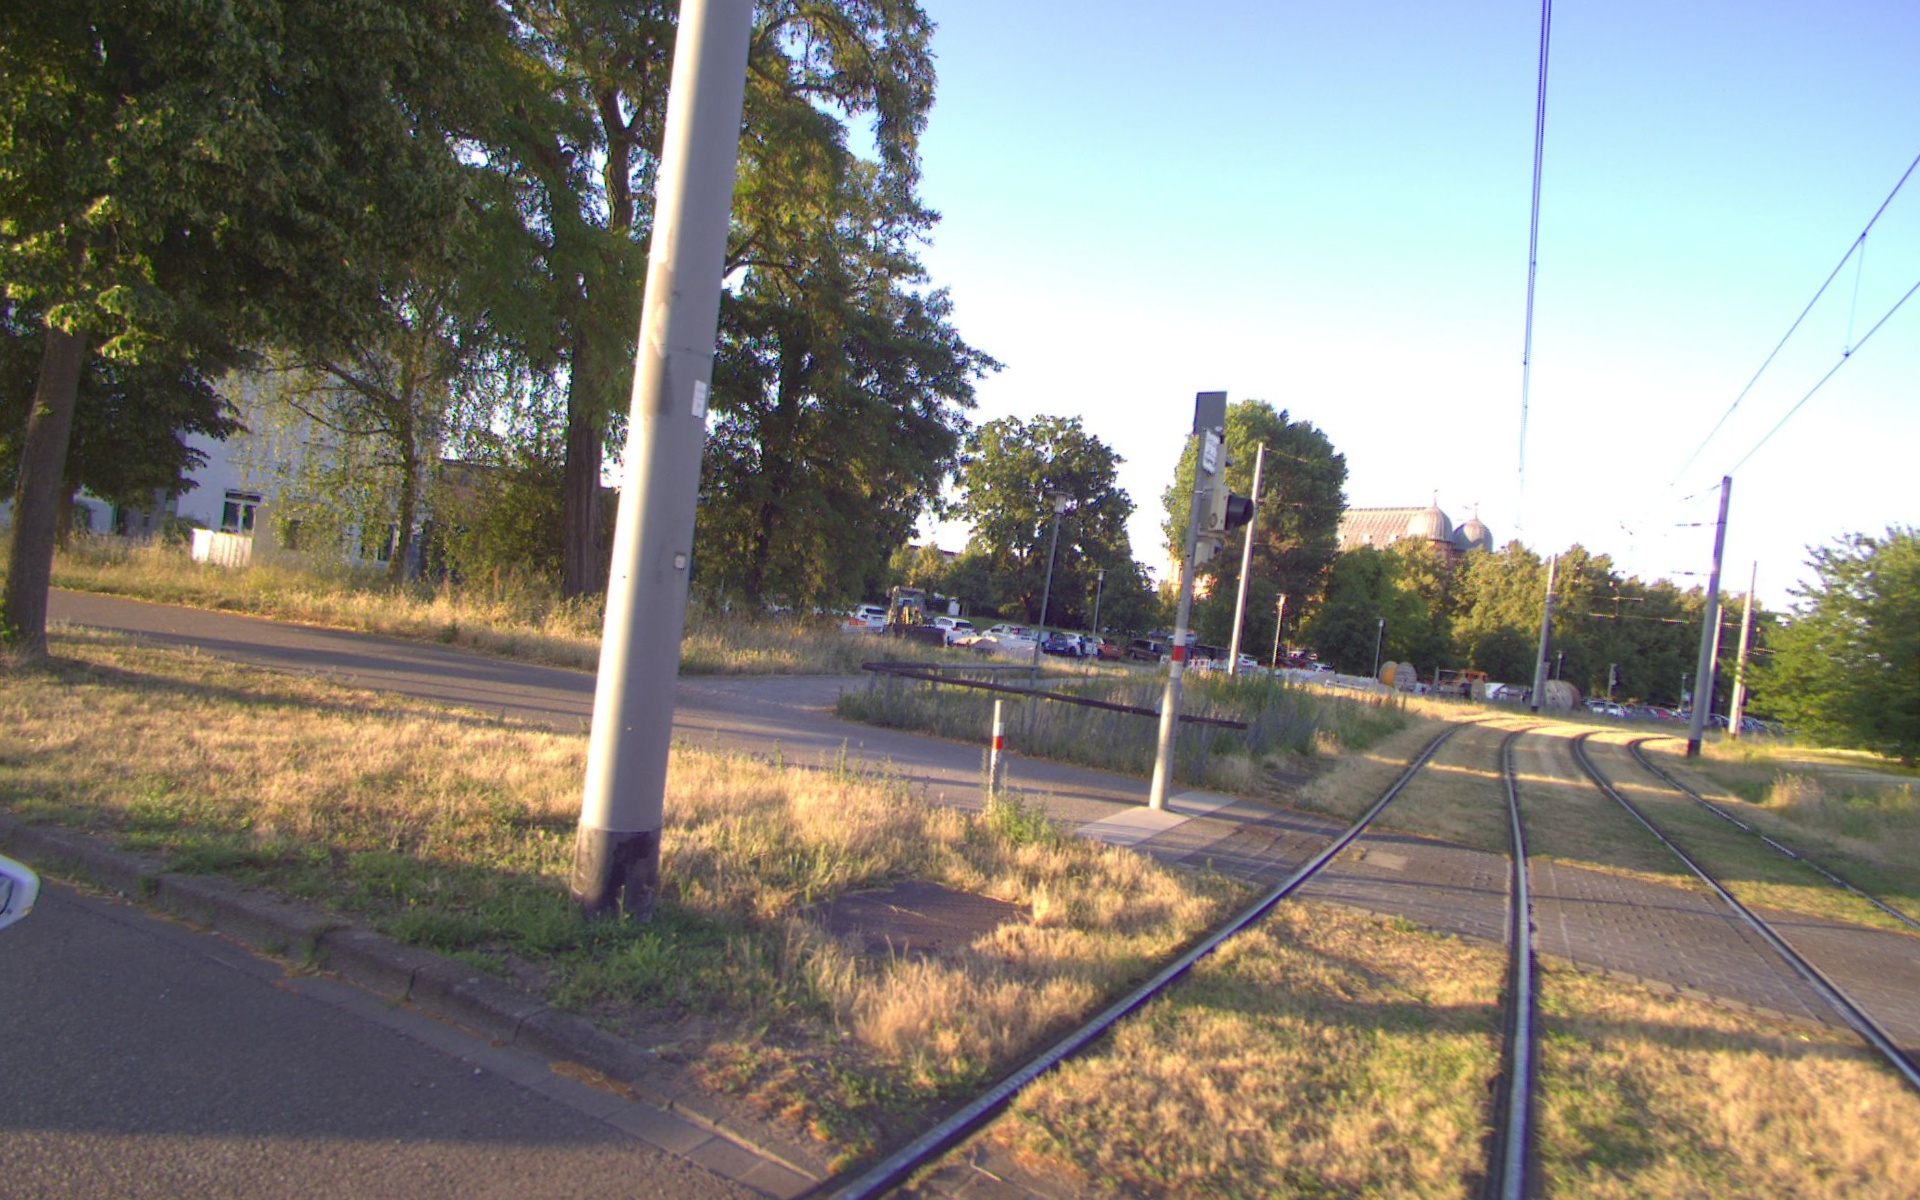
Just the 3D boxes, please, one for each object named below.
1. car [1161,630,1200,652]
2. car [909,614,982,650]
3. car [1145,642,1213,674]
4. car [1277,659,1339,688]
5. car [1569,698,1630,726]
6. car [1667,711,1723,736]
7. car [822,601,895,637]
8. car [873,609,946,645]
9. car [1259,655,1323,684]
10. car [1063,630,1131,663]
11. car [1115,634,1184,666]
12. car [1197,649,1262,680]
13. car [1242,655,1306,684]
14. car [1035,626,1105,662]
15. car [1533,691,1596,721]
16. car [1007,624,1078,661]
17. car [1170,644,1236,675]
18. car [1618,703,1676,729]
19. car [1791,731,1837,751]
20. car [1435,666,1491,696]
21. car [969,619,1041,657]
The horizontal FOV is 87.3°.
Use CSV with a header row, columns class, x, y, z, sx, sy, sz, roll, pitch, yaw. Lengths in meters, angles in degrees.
class,x,y,z,sx,sy,sz,roll,pitch,yaw
car,24.457,4.595,111.687,3.969,1.765,1.980,10,-1,-37
car,-0.839,1.767,56.002,1.938,1.463,3.957,8,-1,-39
car,14.626,3.865,67.328,1.889,1.572,3.957,8,-1,-39
car,26.380,5.561,76.280,1.889,1.572,3.957,8,-1,-39
car,49.948,8.710,78.567,1.701,1.499,3.568,9,-1,-42
car,64.205,10.751,87.904,1.701,1.499,3.568,9,-1,-42
car,-5.419,0.997,53.366,1.938,1.463,3.957,8,-1,-39
car,-2.794,1.441,54.902,1.938,1.463,3.957,8,-1,-39
car,24.549,5.137,74.697,1.889,1.572,3.957,8,-1,-39
car,8.646,2.929,63.640,1.889,1.572,3.957,8,-1,-39
car,12.502,3.267,66.571,1.889,1.572,4.055,8,-1,-39
car,18.919,4.536,70.768,1.889,1.572,3.957,8,-1,-39
car,22.757,5.039,73.086,1.889,1.572,3.957,8,-1,-39
car,6.755,2.677,61.991,1.938,1.682,3.957,8,-1,-39
car,44.710,7.846,74.446,1.701,1.499,3.568,9,-1,-42
car,4.913,2.562,60.622,1.938,1.682,3.957,8,-1,-39
car,16.637,4.048,68.917,1.889,1.572,3.957,8,-1,-39
car,57.667,9.714,84.476,1.701,1.499,3.568,9,-1,-42
car,94.053,15.548,110.843,1.701,1.499,3.568,9,-1,-42
car,45.638,7.305,91.314,1.889,2.121,3.957,7,-1,-39
car,2.630,2.226,59.526,1.938,1.682,3.957,8,-1,-39
